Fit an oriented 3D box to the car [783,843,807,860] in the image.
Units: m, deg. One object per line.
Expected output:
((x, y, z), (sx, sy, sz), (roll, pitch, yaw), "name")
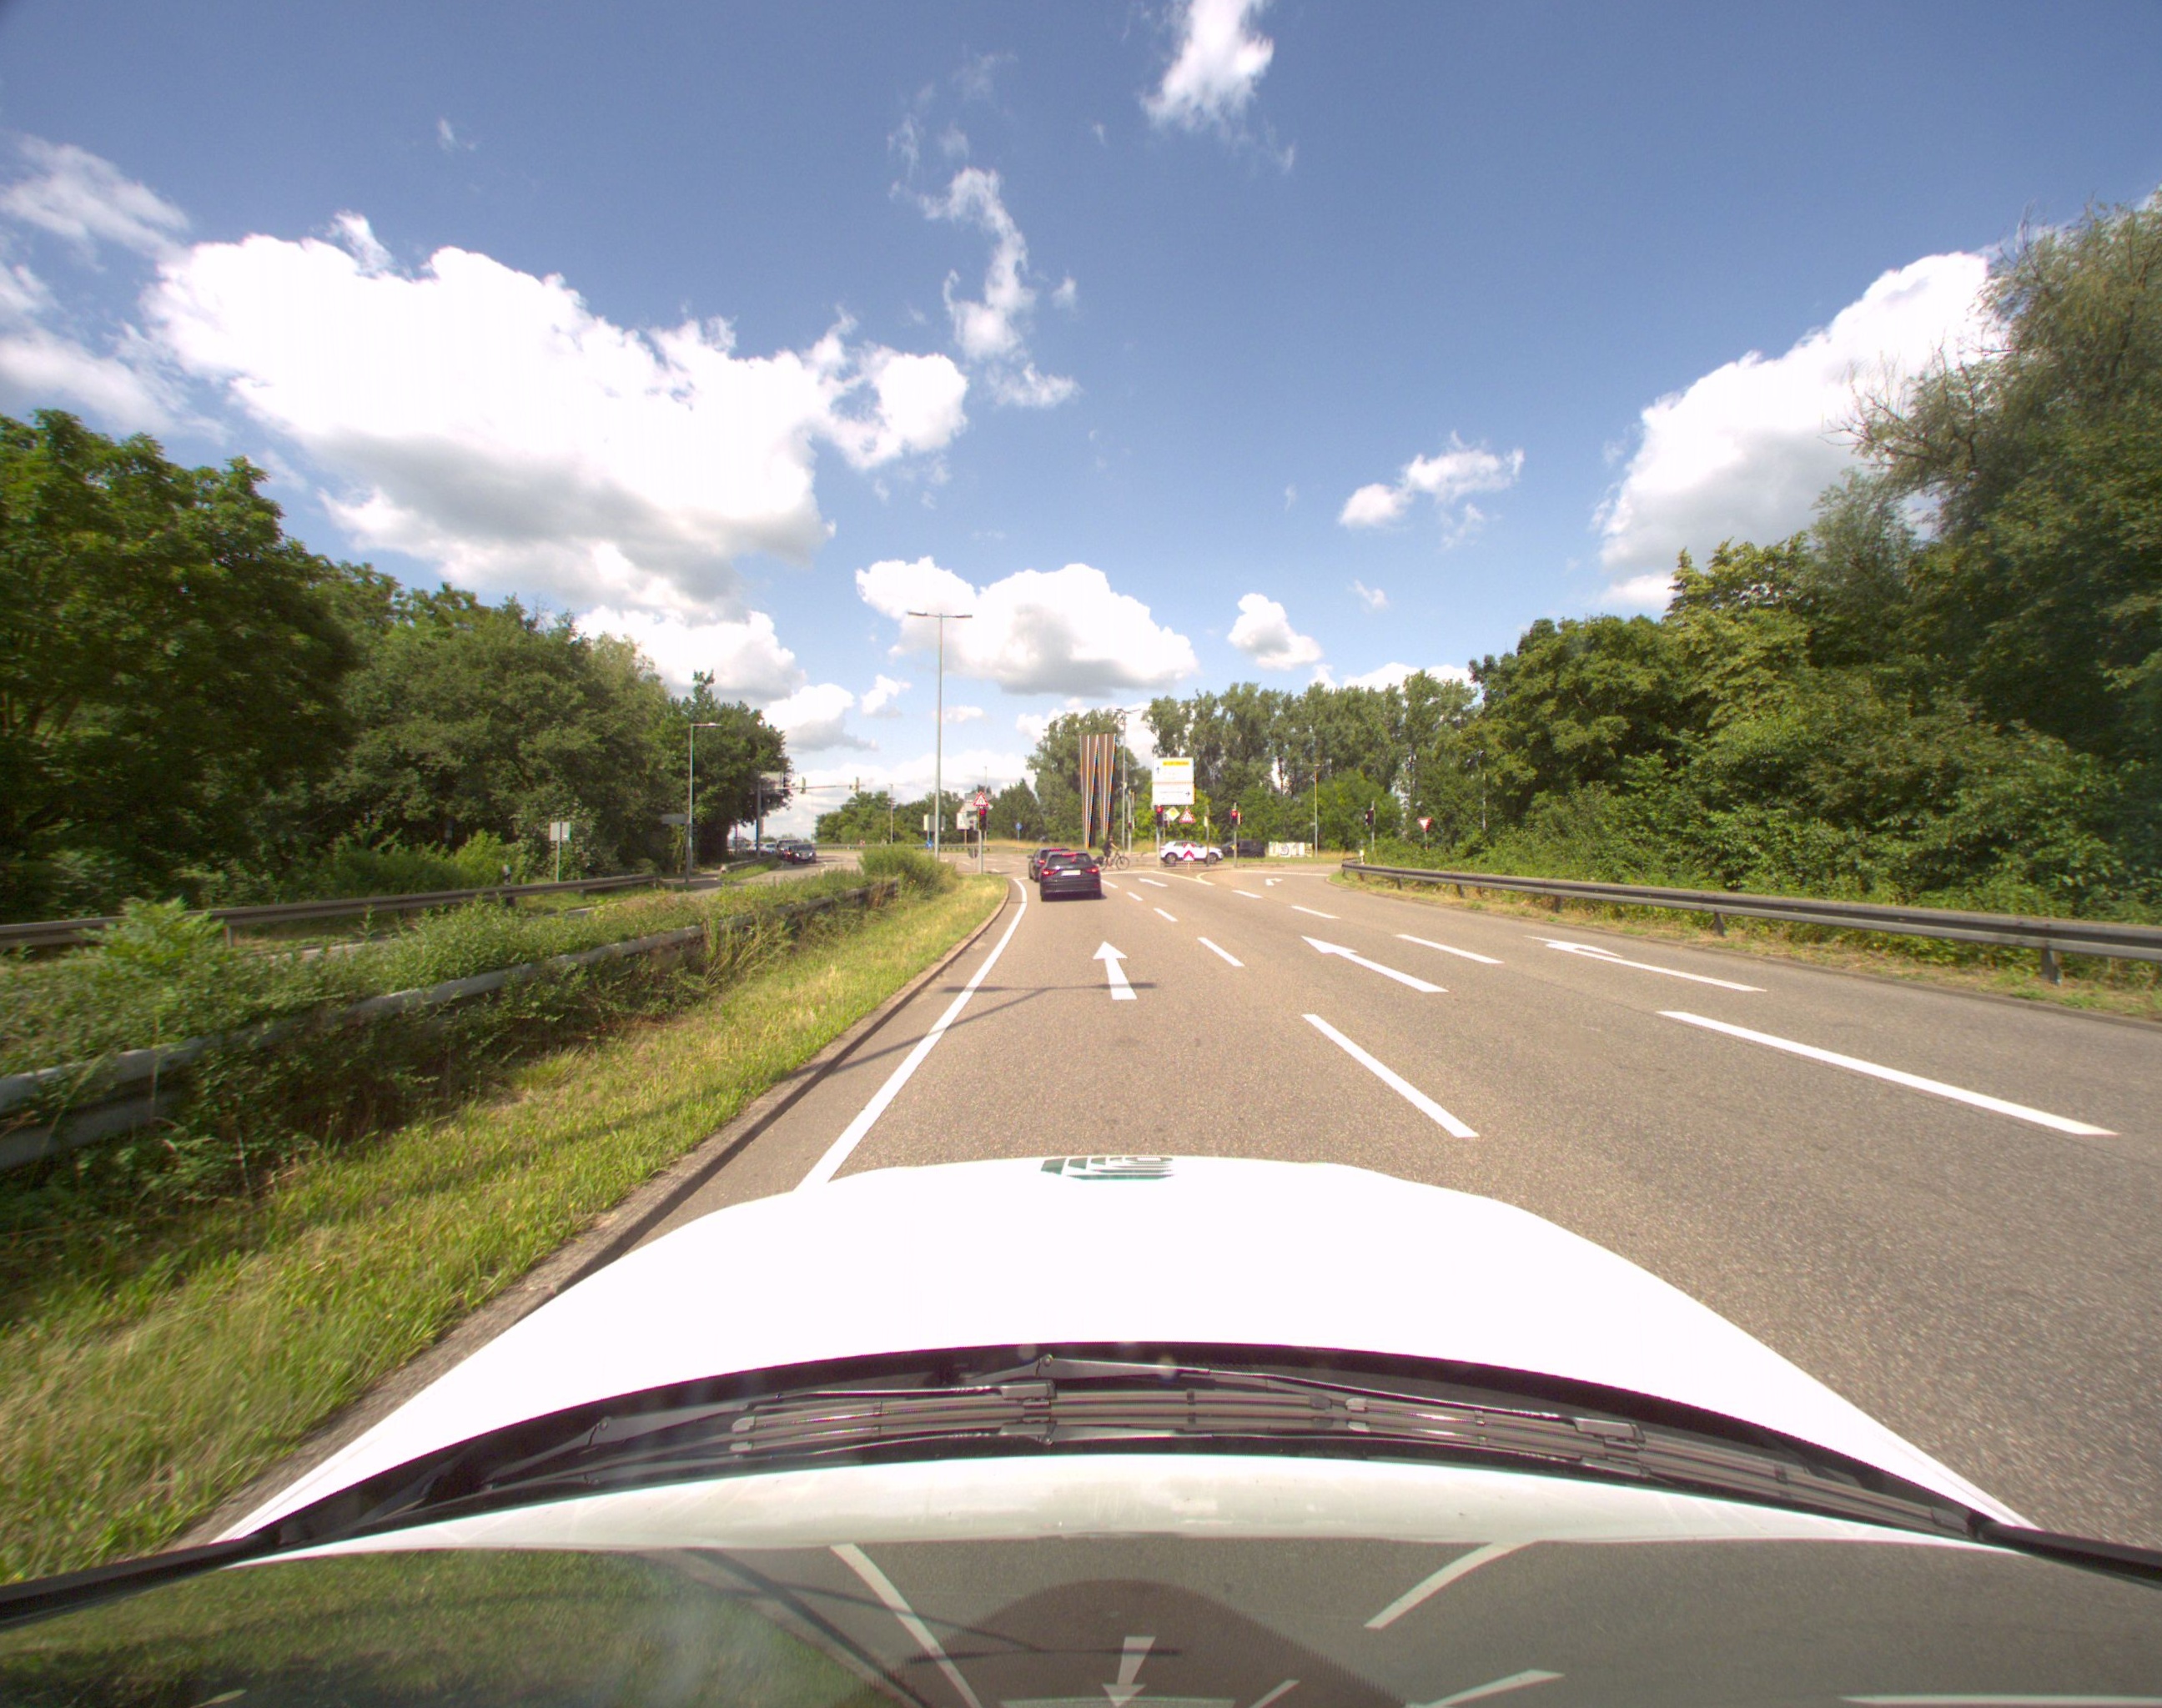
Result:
((-25.132, -0.227, 71.516), (1.739, 1.476, 4.015), (-1, 1, -24), "car")

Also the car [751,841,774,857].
((-35.687, -0.531, 91.243), (1.854, 1.705, 4.287), (-1, 1, -29), "car")

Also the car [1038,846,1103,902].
((-0.358, 0.530, 24.265), (1.722, 1.404, 3.997), (-3, 1, -2), "car")

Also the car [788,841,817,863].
((-21.971, -0.117, 64.099), (1.847, 1.618, 3.969), (-1, 0, -23), "car")

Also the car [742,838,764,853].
((-39.322, -0.973, 97.581), (1.855, 1.705, 4.283), (-1, 1, -31), "car")

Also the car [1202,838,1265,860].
((11.264, -0.388, 60.224), (4.260, 1.545, 1.735), (-1, 1, -4), "car")

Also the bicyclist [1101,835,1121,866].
((1.537, -0.161, 41.560), (0.835, 1.560, 0.669), (-1, 0, -14), "bicyclist")

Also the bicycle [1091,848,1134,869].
((1.607, 0.239, 41.569), (2.055, 1.023, 0.669), (-1, 0, -15), "bicycle")

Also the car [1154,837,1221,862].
((6.724, -0.292, 51.817), (4.022, 1.476, 1.736), (1, 0, -2), "car")

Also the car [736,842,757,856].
((-42.400, -0.591, 103.066), (1.855, 1.705, 4.284), (-1, 1, -31), "car")

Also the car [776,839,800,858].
((-27.938, -0.520, 77.576), (1.851, 1.802, 4.293), (-1, 1, -24), "car")

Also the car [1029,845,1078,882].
((-1.249, 0.363, 34.990), (1.724, 1.423, 3.836), (-3, 1, -7), "car")
